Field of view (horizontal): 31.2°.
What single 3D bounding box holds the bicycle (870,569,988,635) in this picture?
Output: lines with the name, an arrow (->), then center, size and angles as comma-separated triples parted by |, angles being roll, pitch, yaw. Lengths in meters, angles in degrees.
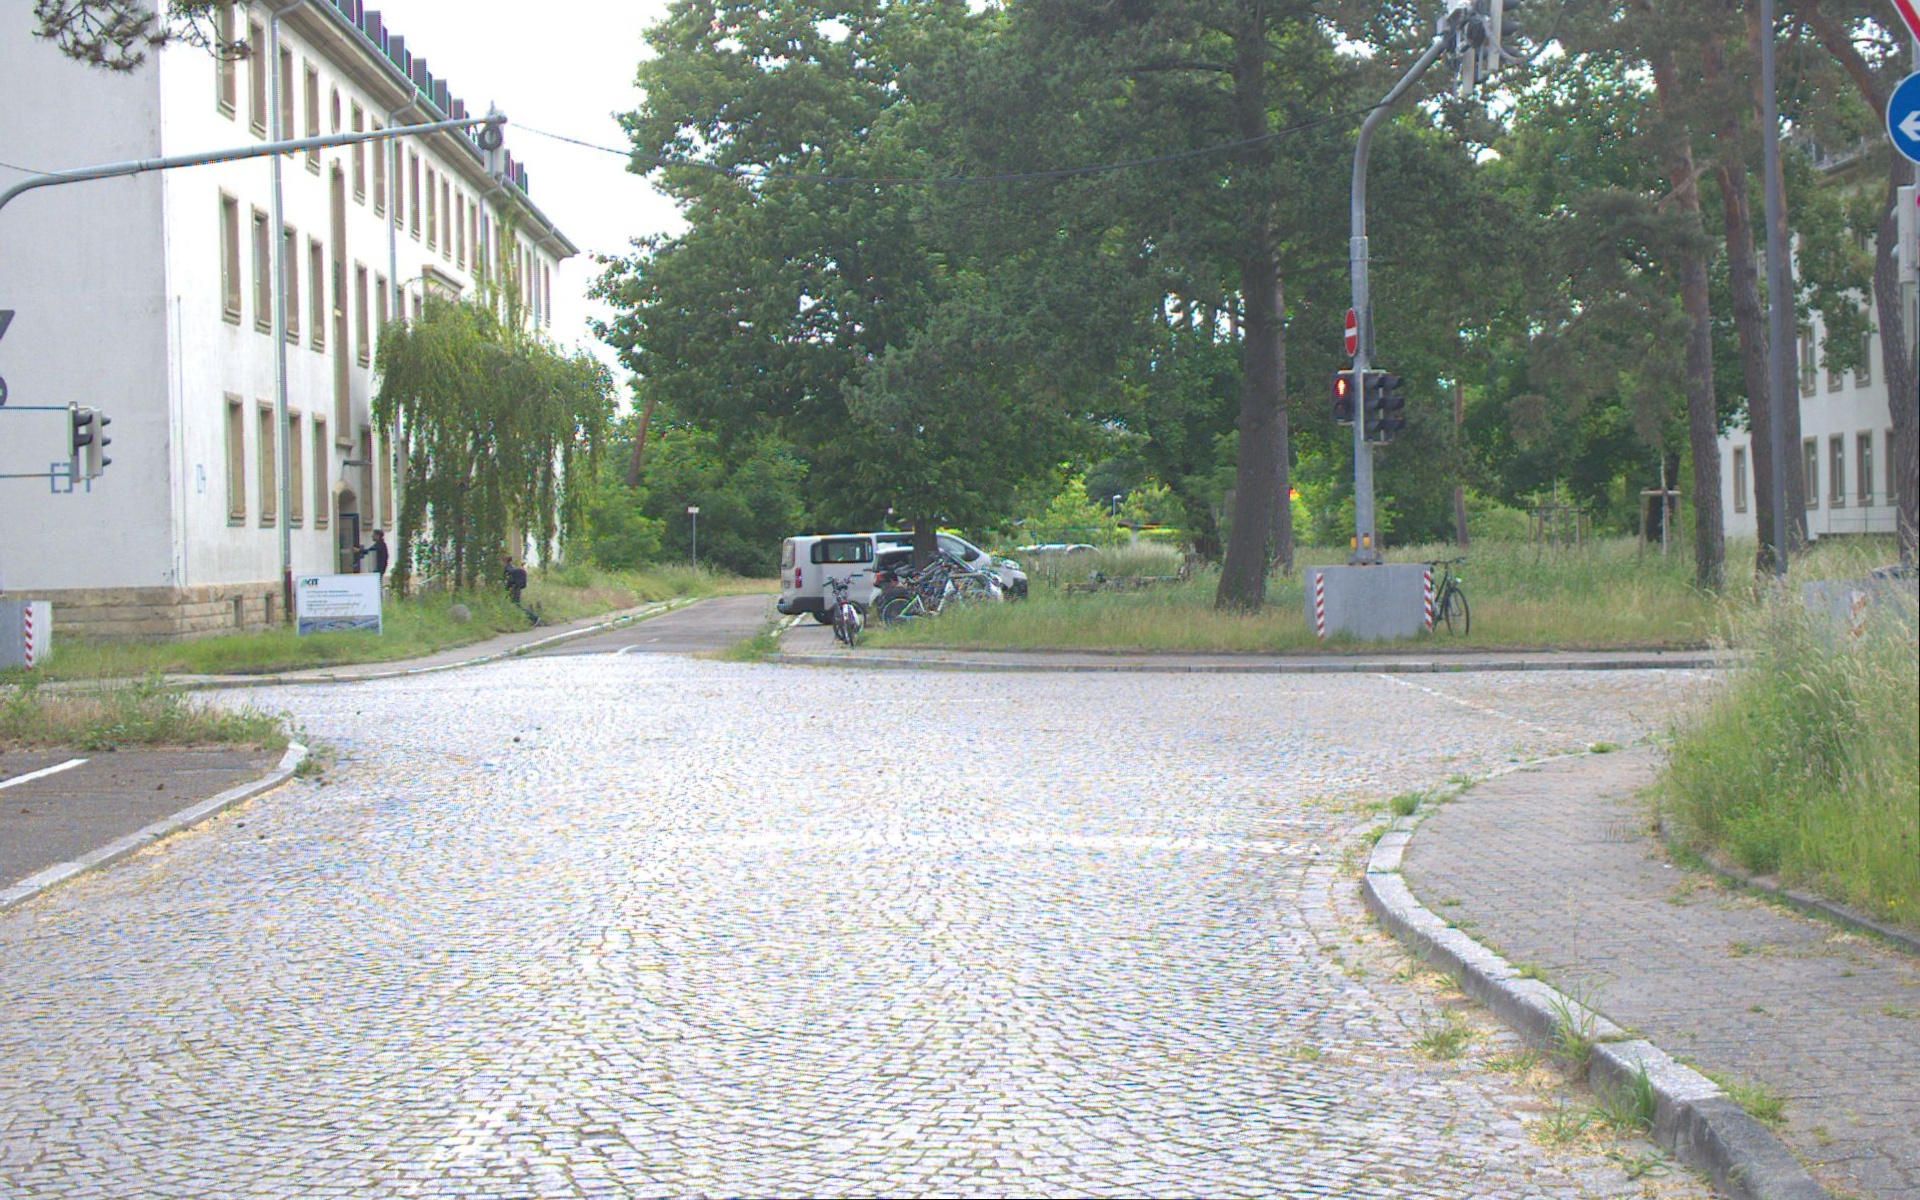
bicycle -> -0.521, 0.033, 58.526 | 1.955, 1.066, 0.588 | -2, 1, -31

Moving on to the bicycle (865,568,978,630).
bicycle -> -0.691, -0.029, 62.210 | 1.955, 1.066, 0.588 | -2, 1, -26

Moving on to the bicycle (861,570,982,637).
bicycle -> -0.641, 0.053, 57.174 | 1.955, 1.066, 0.588 | -2, 1, -31

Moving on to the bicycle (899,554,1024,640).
bicycle -> 0.021, -0.054, 56.530 | 1.954, 1.379, 0.588 | -1, 1, -8

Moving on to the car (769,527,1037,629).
car -> -1.237, -0.480, 73.130 | 5.359, 1.918, 2.025 | -3, 1, -10

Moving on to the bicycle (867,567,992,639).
bicycle -> -0.499, 0.048, 55.692 | 1.954, 1.113, 0.588 | -1, 1, -8

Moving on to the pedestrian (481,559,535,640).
pedestrian -> -9.182, -0.020, 69.807 | 0.775, 1.613, 0.740 | -1, 1, 23

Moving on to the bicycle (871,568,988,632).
bicycle -> -0.529, 0.000, 59.880 | 1.955, 1.066, 0.588 | -2, 1, -26

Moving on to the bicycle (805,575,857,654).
bicycle -> -1.949, 0.207, 51.841 | 0.603, 1.128, 1.962 | -1, 1, -7

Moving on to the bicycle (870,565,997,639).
bicycle -> -0.420, 0.032, 55.060 | 1.954, 1.129, 0.588 | -1, 1, -8

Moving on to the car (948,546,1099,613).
car -> 1.404, -0.473, 77.053 | 3.231, 1.411, 1.725 | -1, 1, -4

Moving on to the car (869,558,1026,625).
car -> -0.263, -0.176, 69.785 | 3.005, 1.264, 1.535 | -2, 1, -7

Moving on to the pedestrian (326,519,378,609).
pedestrian -> -12.491, -0.742, 70.605 | 0.774, 1.831, 0.741 | -2, 1, -32

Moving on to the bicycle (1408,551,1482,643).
bicycle -> 6.065, -0.050, 43.046 | 0.586, 1.102, 1.962 | -1, 1, -1
